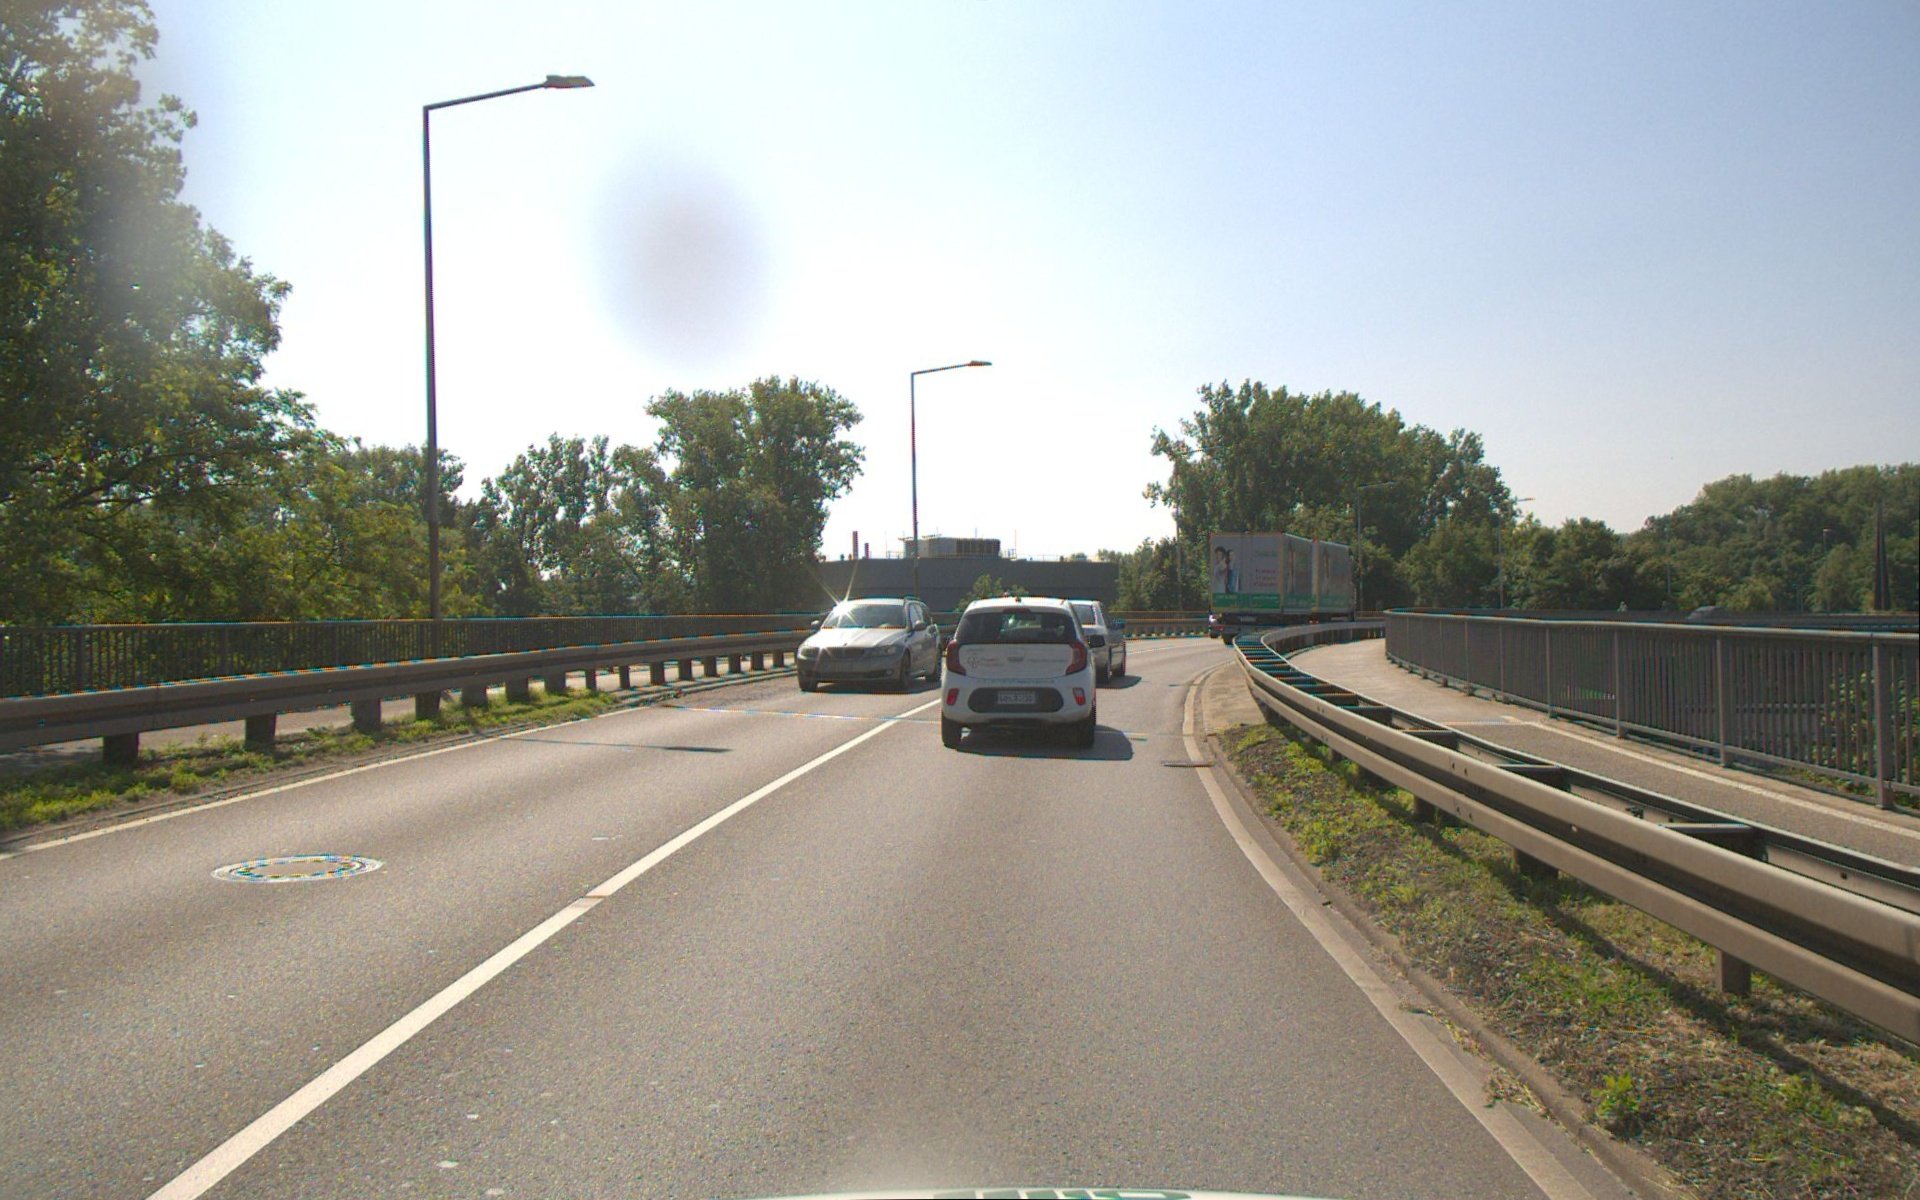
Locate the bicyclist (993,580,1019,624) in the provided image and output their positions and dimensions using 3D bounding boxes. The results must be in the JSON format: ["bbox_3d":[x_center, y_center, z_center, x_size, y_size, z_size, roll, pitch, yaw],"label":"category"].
[{"bbox_3d":[1.602,0.079,57.394,0.595,1.464,1.079,-2,-1,15],"label":"bicyclist"}]

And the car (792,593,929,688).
[{"bbox_3d":[-1.547,0.602,27.152,1.681,1.422,4.185,0,0,5],"label":"car"}]

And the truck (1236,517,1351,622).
[{"bbox_3d":[13.326,-1.269,65.565,3.193,3.823,8.374,2,2,20],"label":"truck"}]

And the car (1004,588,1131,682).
[{"bbox_3d":[2.019,0.556,29.642,1.897,1.512,4.904,1,1,8],"label":"car"}]

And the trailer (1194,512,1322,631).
[{"bbox_3d":[10.587,-1.056,58.078,3.157,3.823,7.828,2,2,19],"label":"trailer"}]

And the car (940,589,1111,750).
[{"bbox_3d":[0.721,0.673,18.353,1.666,1.520,4.001,1,1,2],"label":"car"}]

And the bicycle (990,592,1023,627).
[{"bbox_3d":[1.638,0.340,57.453,0.599,1.155,2.150,-3,-1,15],"label":"bicycle"}]
